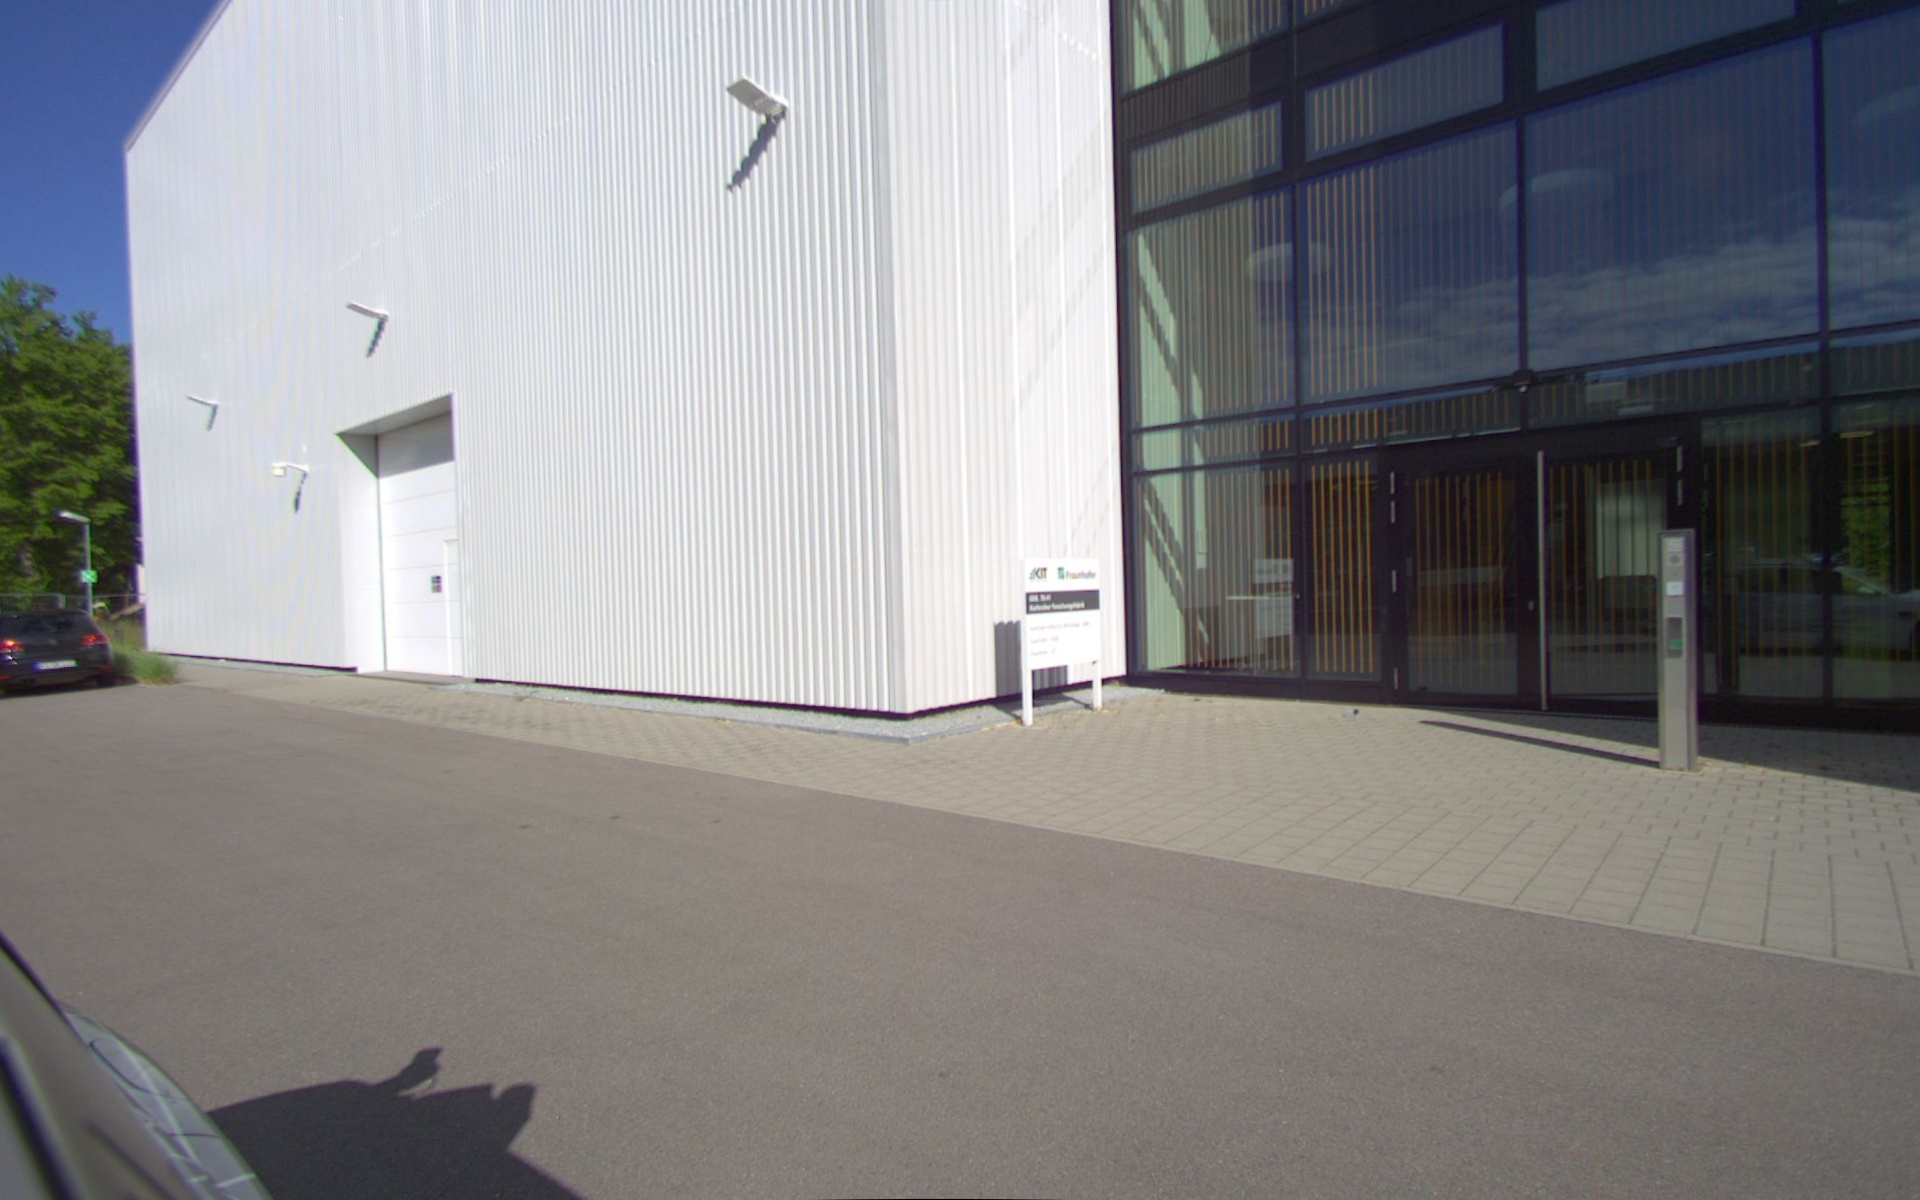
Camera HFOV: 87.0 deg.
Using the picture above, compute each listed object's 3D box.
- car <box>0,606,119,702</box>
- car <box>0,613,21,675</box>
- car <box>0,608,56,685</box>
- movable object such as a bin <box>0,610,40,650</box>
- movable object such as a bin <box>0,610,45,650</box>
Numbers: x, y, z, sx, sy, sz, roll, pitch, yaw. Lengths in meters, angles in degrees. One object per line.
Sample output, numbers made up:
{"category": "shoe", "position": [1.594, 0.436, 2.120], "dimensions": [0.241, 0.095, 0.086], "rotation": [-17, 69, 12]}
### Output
{"category": "car", "position": [-16.930, 0.953, 18.450], "dimensions": [4.313, 1.456, 1.738], "rotation": [-2, 3, 41]}
{"category": "car", "position": [-24.777, 1.141, 25.041], "dimensions": [3.794, 1.459, 1.695], "rotation": [-2, 2, 39]}
{"category": "car", "position": [-20.593, 1.004, 21.462], "dimensions": [3.518, 1.499, 1.533], "rotation": [-2, 2, 39]}
{"category": "movable object such as a bin", "position": [-35.808, 1.138, 38.474], "dimensions": [1.279, 1.489, 1.126], "rotation": [-3, -2, 41]}
{"category": "movable object such as a bin", "position": [-34.792, 1.112, 37.566], "dimensions": [1.288, 1.445, 1.126], "rotation": [-2, -1, 41]}
